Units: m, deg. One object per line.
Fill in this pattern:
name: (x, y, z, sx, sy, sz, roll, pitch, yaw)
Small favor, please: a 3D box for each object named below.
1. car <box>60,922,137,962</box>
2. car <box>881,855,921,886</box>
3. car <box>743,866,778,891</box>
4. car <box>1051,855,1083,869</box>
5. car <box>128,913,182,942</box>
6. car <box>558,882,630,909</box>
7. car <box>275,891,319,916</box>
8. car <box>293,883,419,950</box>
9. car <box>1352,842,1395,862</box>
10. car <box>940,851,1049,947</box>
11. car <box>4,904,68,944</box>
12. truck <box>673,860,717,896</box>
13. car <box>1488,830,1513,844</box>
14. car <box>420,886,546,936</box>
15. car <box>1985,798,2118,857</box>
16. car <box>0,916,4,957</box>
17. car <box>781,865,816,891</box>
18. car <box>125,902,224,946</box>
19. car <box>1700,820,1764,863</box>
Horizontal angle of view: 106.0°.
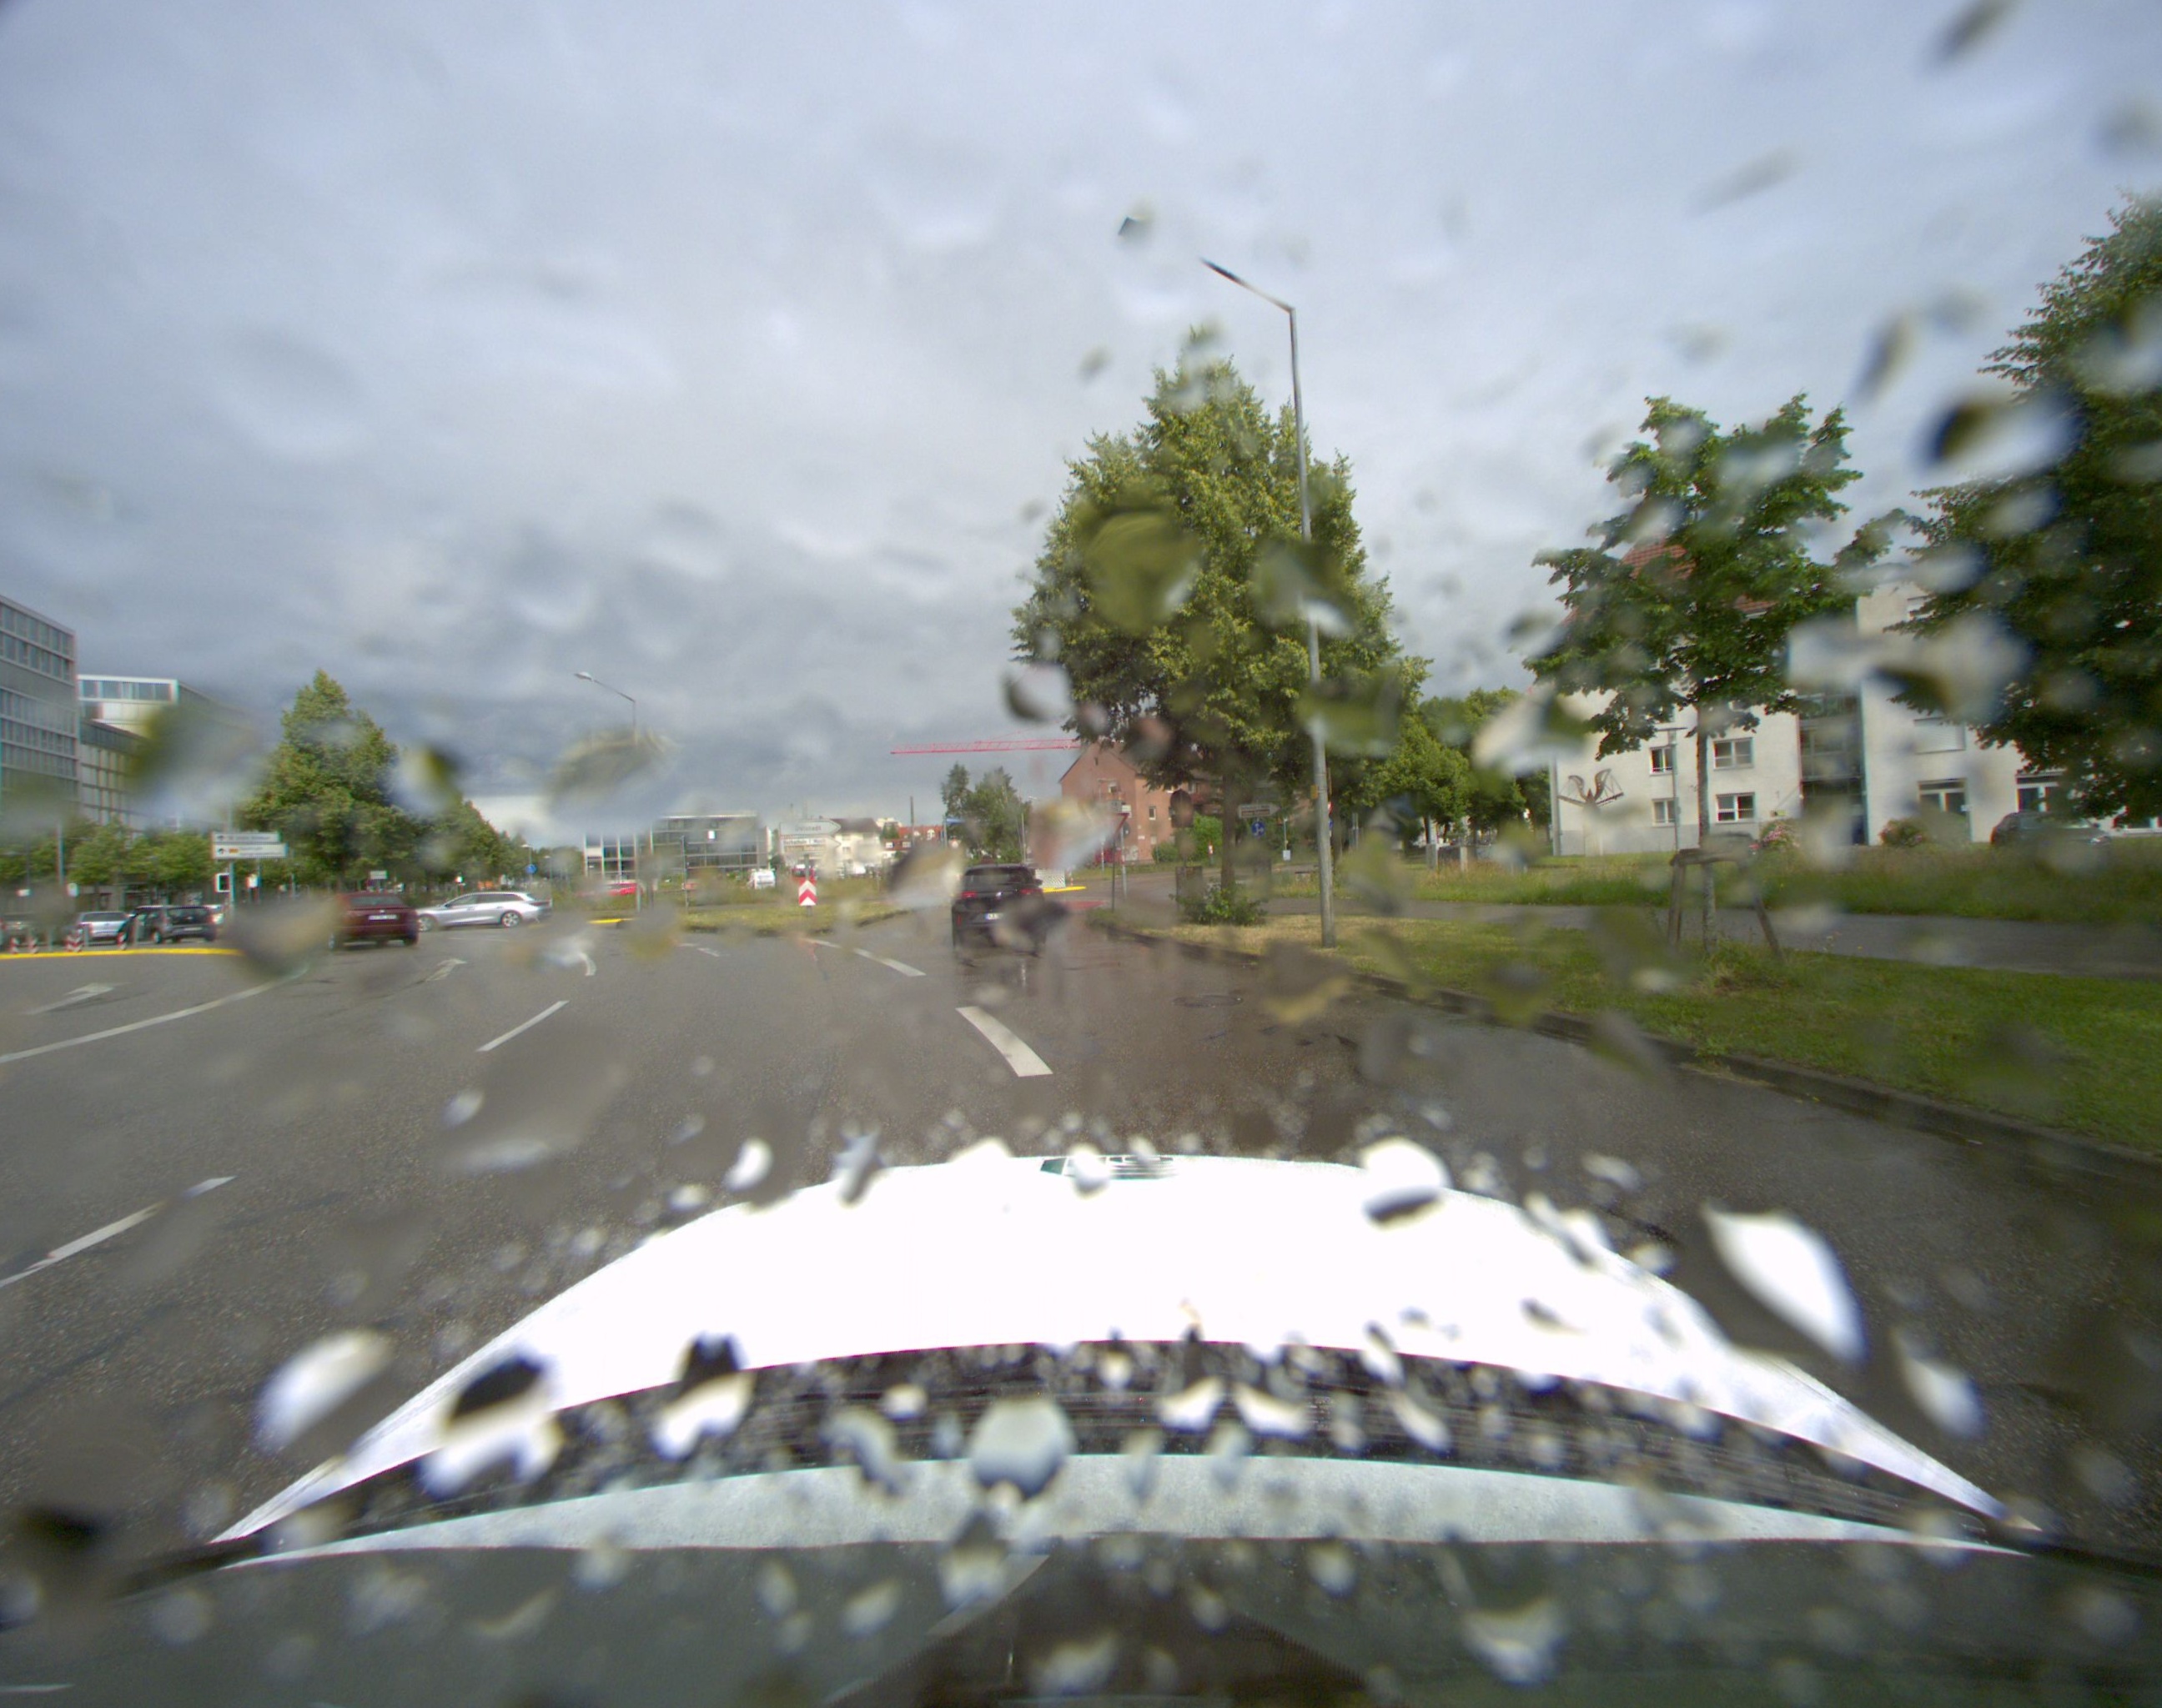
car: (-41.457, 3.657, 34.428, 3.798, 1.367, 1.713, -3, -1, 45)
car: (-13.973, 1.196, 63.100, 2.044, 2.084, 6.221, -2, 2, -21)
car: (-24.651, 1.861, 62.626, 1.864, 1.700, 3.961, -2, 2, -31)
car: (-1.656, 0.914, 96.811, 3.494, 1.519, 1.619, -3, 0, 4)
car: (-56.408, 4.465, 49.637, 1.507, 1.510, 3.460, -2, -1, -38)
car: (-33.953, 2.883, 56.852, 4.205, 1.510, 1.840, -3, 2, -30)
car: (-69.984, 4.356, 72.751, 2.008, 2.013, 3.958, -2, -1, -33)
car: (-18.812, 1.615, 21.078, 3.948, 1.462, 1.731, -4, 0, 38)
car: (28.343, -0.197, 78.885, 4.726, 1.732, 2.056, -3, 2, -44)
car: (-1.755, 0.828, 16.668, 1.895, 1.617, 3.991, -3, 0, -6)
car: (-47.549, 3.150, 37.098, 3.630, 1.560, 1.584, -3, 1, 40)
truck: (-27.514, 1.634, 58.200, 2.399, 2.211, 6.057, -2, 2, -22)
car: (57.745, -2.308, 112.085, 2.055, 1.732, 4.729, 0, 2, 39)
car: (-22.909, 2.139, 31.350, 3.553, 1.560, 1.588, -3, 0, -22)
car: (30.362, -0.876, 25.623, 1.828, 1.552, 4.133, -3, 2, 38)
car: (-42.759, 3.206, 31.130, 3.455, 1.560, 1.560, -3, 0, 31)
car: (-21.237, 1.800, 61.232, 1.934, 1.700, 3.965, -2, 2, -27)
car: (-36.036, 2.774, 32.368, 3.457, 1.560, 1.559, -3, 0, 24)
car: (24.376, -0.499, 30.594, 1.654, 1.482, 3.764, -3, 0, 36)
